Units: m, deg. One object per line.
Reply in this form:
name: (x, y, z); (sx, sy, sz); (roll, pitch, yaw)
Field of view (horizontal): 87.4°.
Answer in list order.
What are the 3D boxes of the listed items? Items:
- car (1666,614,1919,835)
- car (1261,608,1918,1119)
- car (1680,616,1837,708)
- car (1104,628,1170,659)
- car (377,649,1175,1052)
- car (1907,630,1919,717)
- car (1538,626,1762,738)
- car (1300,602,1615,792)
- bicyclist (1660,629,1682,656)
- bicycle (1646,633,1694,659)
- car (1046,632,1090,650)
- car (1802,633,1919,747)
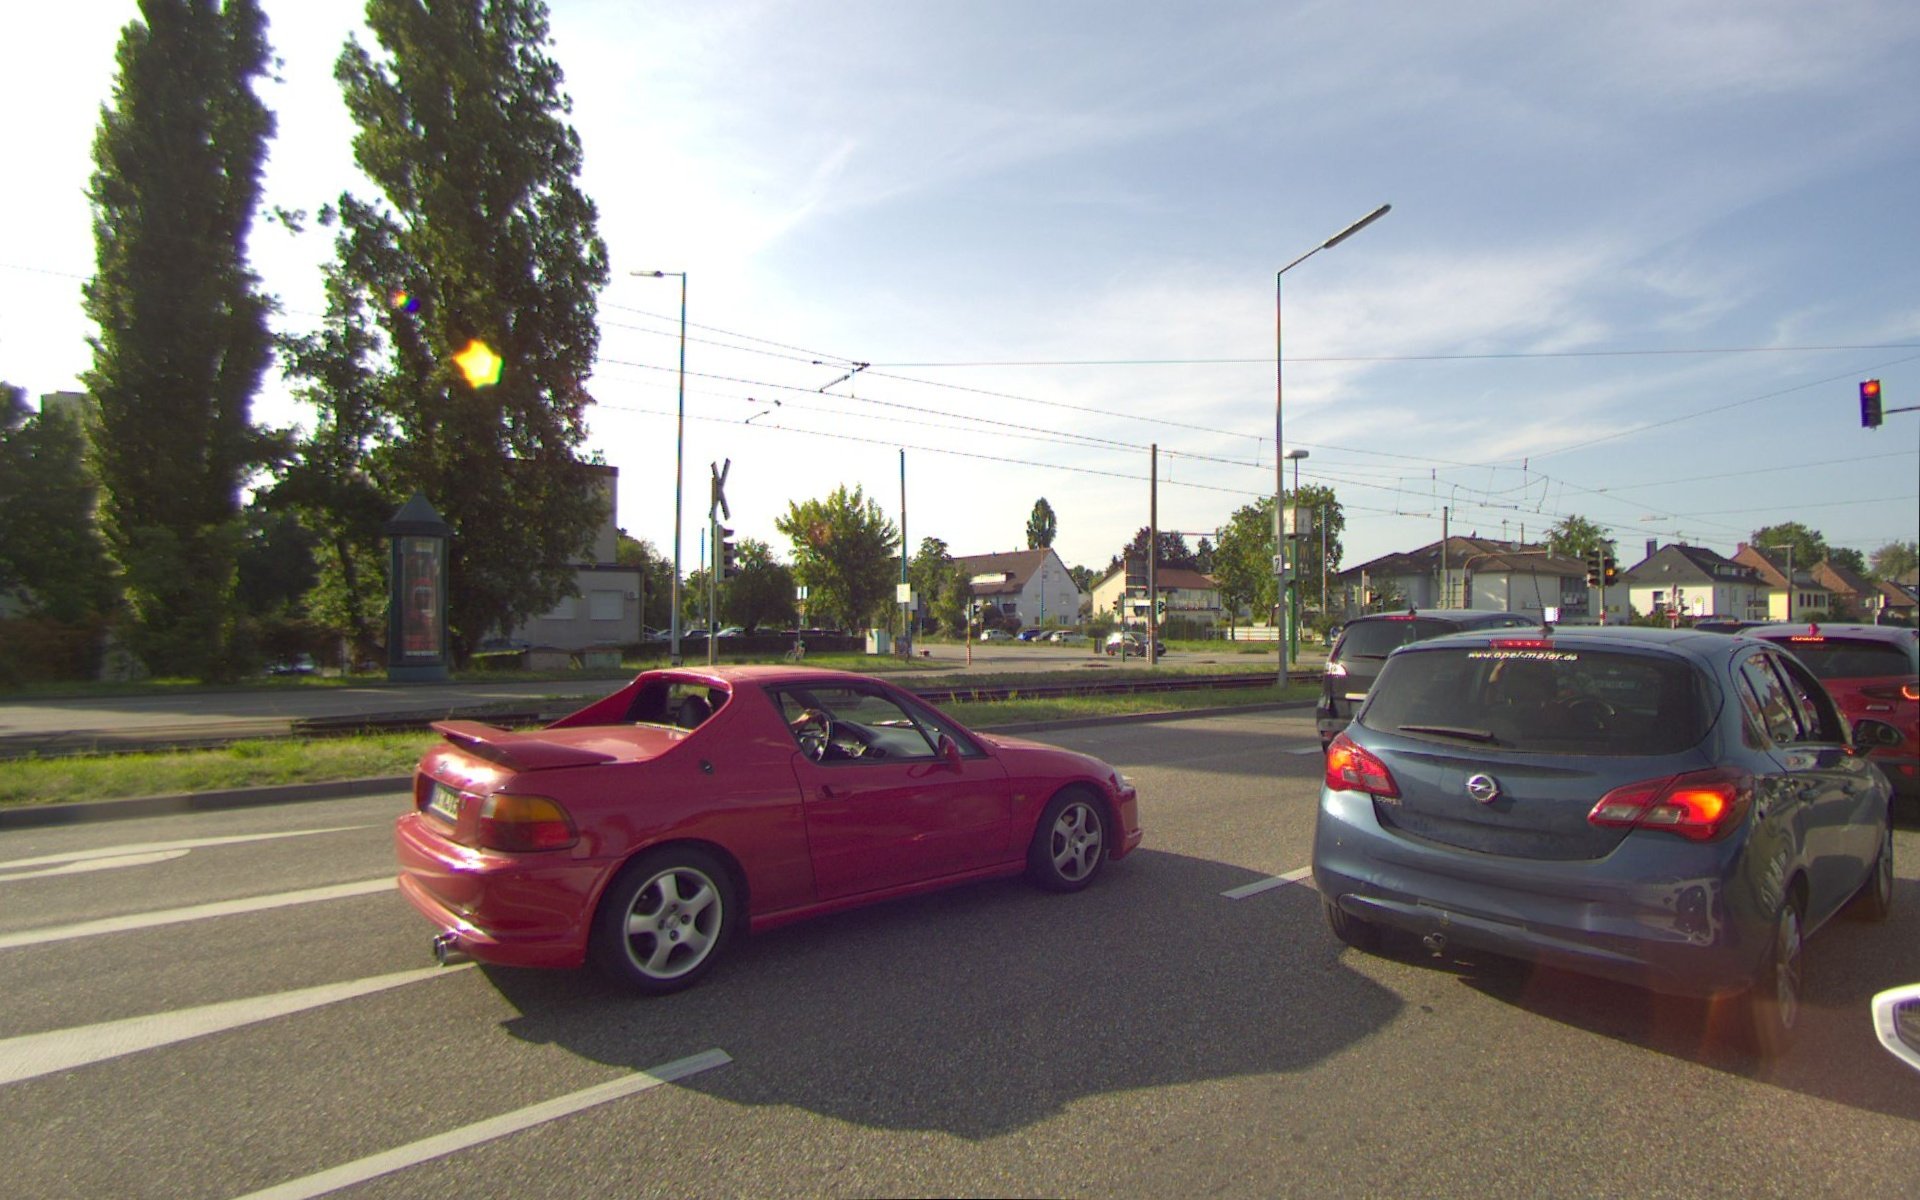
car: (7.876, 0.950, 9.003); (3.948, 1.572, 1.691); (2, -3, -42)
car: (3.418, 0.840, 5.070); (4.191, 1.525, 1.726); (1, -2, -42)
car: (16.308, 1.197, 20.427); (4.703, 1.673, 1.495); (1, -3, -39)
car: (10.645, 2.592, 60.539); (1.506, 1.816, 3.958); (1, -2, -37)
car: (-0.711, 0.932, 5.294); (3.818, 1.222, 1.715); (1, -1, -42)
car: (18.025, 1.251, 17.653); (3.984, 1.462, 1.642); (2, -3, -42)
car: (10.941, 1.181, 15.812); (4.514, 1.528, 1.686); (1, -2, -39)
car: (5.537, 0.917, 10.965); (4.054, 1.693, 1.747); (1, -2, -42)
bicyclist: (39.362, 2.365, 55.622); (0.874, 1.450, 1.131); (1, -1, 42)
bicycle: (39.331, 2.522, 55.657); (2.051, 1.365, 1.103); (0, -1, 42)
car: (11.033, 4.217, 102.275); (4.175, 1.706, 1.982); (2, -1, -33)
car: (13.185, 1.170, 13.939); (3.795, 1.415, 1.629); (1, -3, -40)
